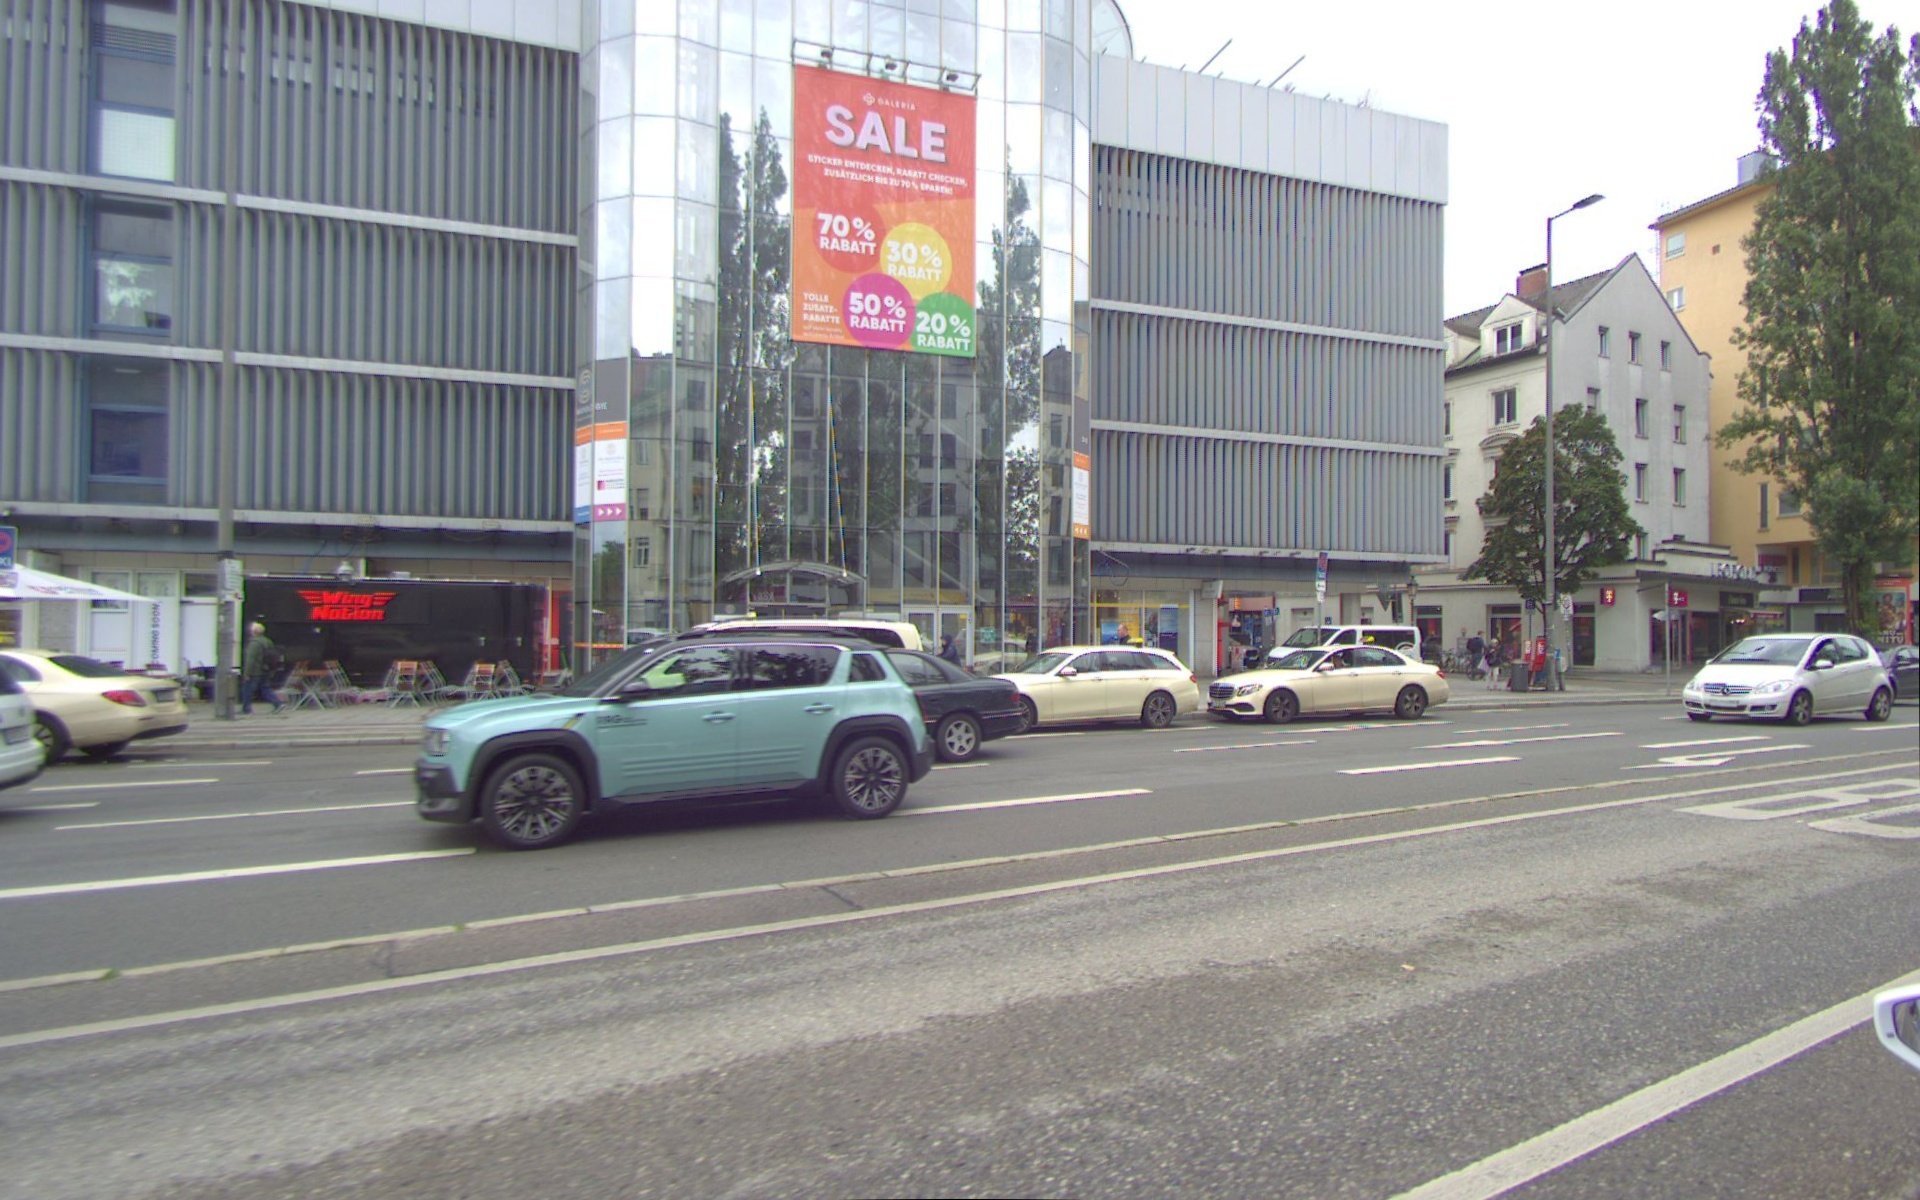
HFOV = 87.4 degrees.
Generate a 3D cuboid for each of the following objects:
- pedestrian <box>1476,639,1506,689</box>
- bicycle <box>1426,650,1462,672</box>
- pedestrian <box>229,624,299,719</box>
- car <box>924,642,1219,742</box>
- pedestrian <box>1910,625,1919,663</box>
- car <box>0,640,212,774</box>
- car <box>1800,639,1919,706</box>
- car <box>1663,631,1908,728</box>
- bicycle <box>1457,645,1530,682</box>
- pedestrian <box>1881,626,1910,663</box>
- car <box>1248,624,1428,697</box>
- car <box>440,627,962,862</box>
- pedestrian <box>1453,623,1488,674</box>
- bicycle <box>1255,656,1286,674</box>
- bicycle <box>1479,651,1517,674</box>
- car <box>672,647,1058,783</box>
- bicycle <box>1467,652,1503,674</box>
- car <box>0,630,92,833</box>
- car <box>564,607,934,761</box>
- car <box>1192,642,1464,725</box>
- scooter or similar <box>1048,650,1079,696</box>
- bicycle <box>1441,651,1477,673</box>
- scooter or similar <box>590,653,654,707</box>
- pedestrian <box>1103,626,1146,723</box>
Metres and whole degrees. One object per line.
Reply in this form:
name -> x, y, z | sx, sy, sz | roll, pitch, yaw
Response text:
pedestrian -> 16.442, 1.966, 31.115 | 0.647, 1.514, 0.543 | 1, -2, -26
bicycle -> 22.836, 2.862, 47.353 | 1.855, 0.976, 0.457 | 1, -2, -25
pedestrian -> -13.801, 1.401, 19.927 | 0.801, 1.829, 0.792 | 0, -2, 1
car -> 2.032, 1.549, 18.081 | 5.018, 1.572, 1.972 | 1, -2, -26
pedestrian -> 42.616, 1.957, 44.363 | 0.757, 1.647, 0.833 | 2, -1, -39
car -> -12.341, 1.335, 12.958 | 3.942, 1.637, 1.768 | 1, -2, -23
car -> 22.314, 1.698, 24.146 | 3.946, 1.485, 1.778 | 1, -2, -26
car -> 15.202, 1.388, 18.518 | 3.944, 1.610, 1.948 | 1, -2, -24
bicycle -> 19.774, 2.337, 37.258 | 2.260, 1.325, 0.849 | 0, -2, -5
pedestrian -> 42.033, 1.986, 45.131 | 0.757, 1.647, 0.832 | 2, -1, -40
car -> 11.311, 1.752, 30.087 | 5.037, 2.040, 1.990 | 1, -2, -22
car -> -2.145, 1.054, 8.474 | 3.951, 1.565, 1.810 | 1, -4, -29
pedestrian -> 19.415, 1.842, 38.202 | 0.817, 1.923, 0.859 | 0, -2, -8
bicycle -> 17.773, 3.694, 57.466 | 1.855, 0.976, 0.457 | 1, -2, -25
bicycle -> 24.297, 2.824, 45.354 | 1.855, 0.976, 0.457 | 1, -2, -25
car -> -1.153, 1.336, 12.833 | 4.628, 1.427, 1.723 | 1, -2, -28
bicycle -> 23.980, 2.868, 45.869 | 1.855, 0.976, 0.457 | 1, -2, -25
car -> -9.906, 1.053, 7.928 | 4.237, 1.621, 1.985 | 1, -2, -29
car -> -3.177, 1.203, 15.468 | 5.255, 2.040, 1.986 | 1, -3, -28
car -> 7.249, 1.609, 19.882 | 4.901, 1.488, 1.857 | 0, -4, -17
scooter or similar -> 2.734, 1.919, 26.476 | 0.991, 1.188, 0.251 | 2, -2, -44
bicycle -> 23.167, 2.859, 46.626 | 1.855, 0.976, 0.457 | 1, -2, -25
scooter or similar -> -7.563, 1.776, 22.546 | 0.362, 1.155, 1.375 | -2, -2, 40
pedestrian -> 3.315, 1.471, 20.176 | 0.772, 1.891, 0.847 | 0, -2, 14
